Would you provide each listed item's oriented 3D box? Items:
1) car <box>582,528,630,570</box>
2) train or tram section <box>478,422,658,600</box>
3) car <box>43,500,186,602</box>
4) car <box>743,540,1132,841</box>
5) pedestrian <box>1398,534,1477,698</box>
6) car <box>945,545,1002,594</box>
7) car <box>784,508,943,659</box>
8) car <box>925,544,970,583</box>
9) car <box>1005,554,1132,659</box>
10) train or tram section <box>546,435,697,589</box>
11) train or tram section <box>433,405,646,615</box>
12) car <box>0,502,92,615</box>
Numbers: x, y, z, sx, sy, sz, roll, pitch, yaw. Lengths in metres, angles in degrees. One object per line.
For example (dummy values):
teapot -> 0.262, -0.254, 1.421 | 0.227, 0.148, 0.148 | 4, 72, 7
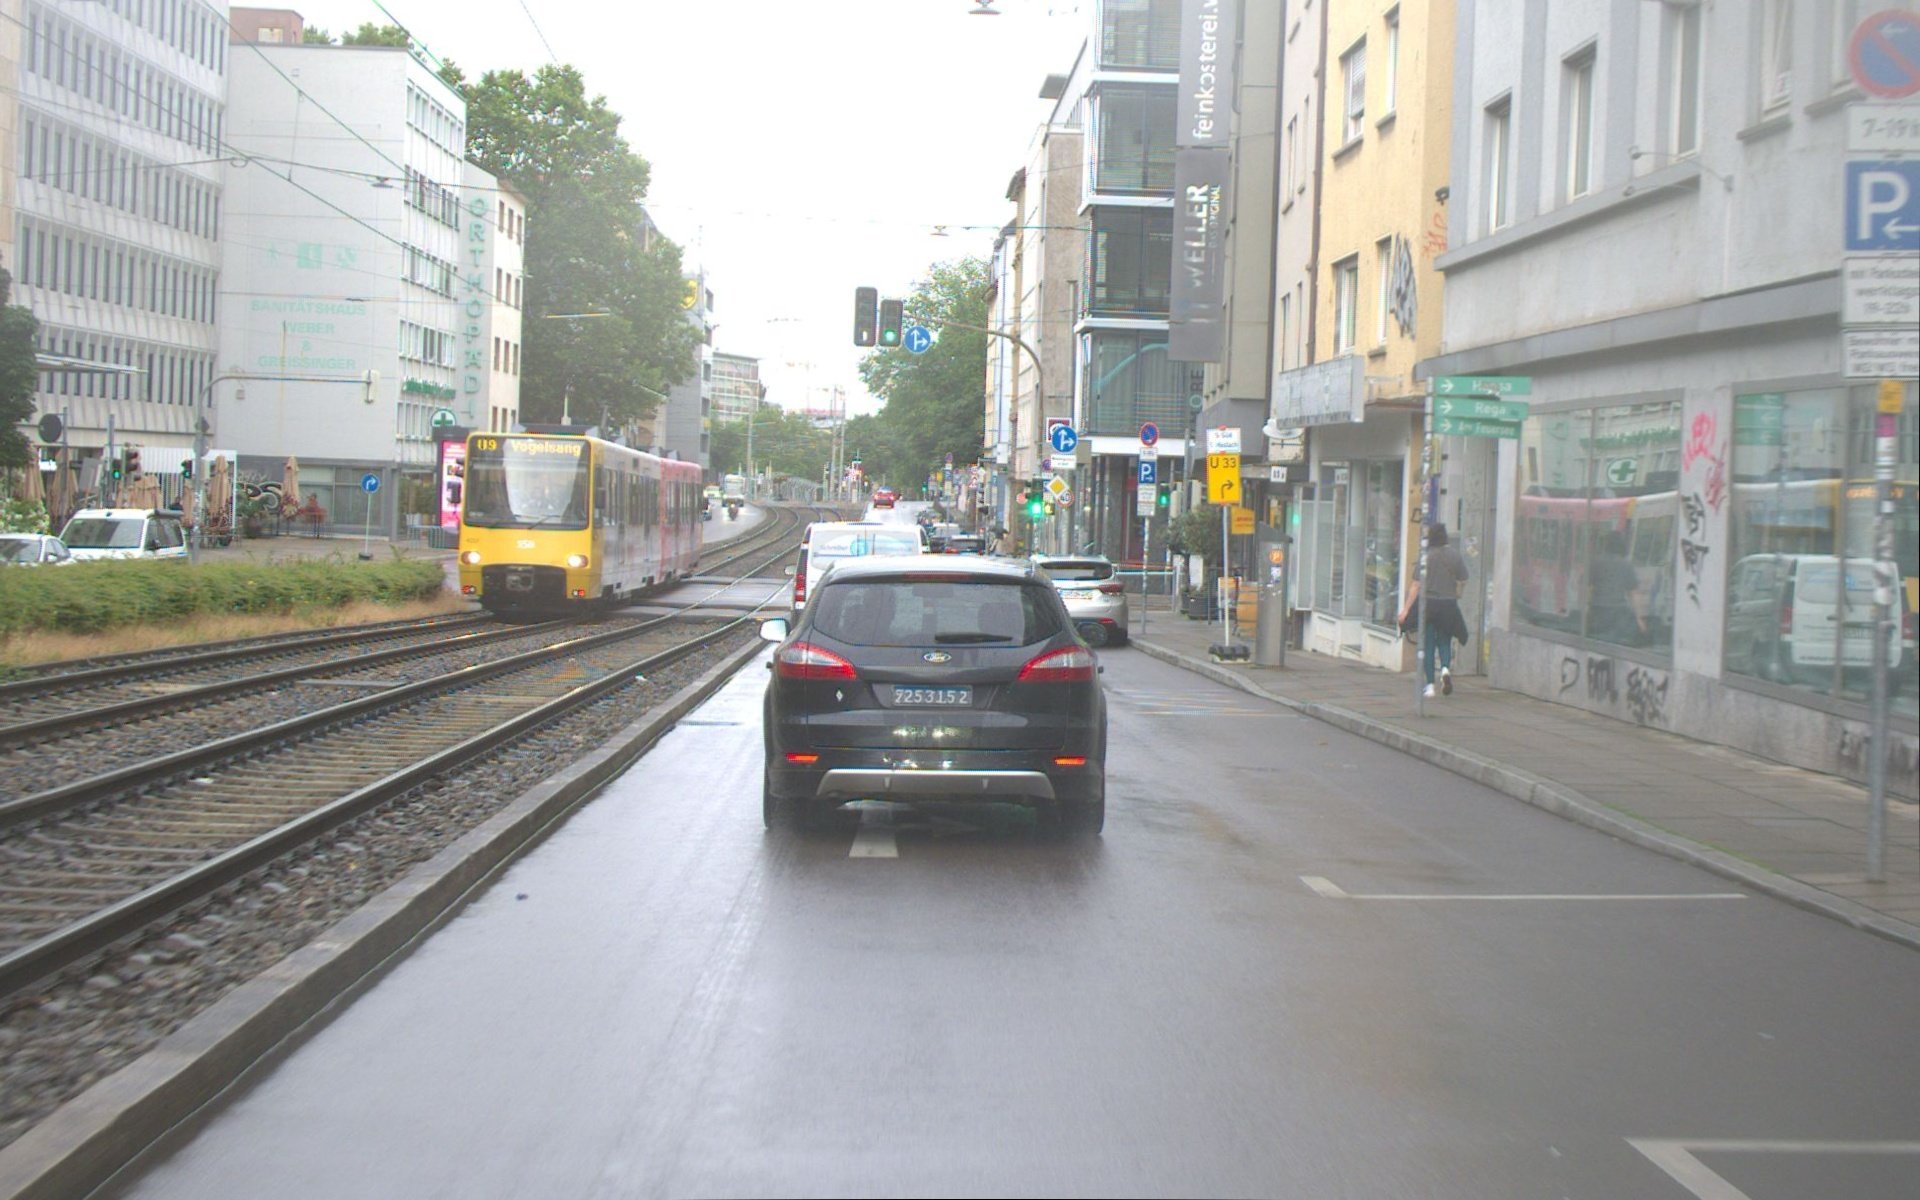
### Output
car -> -16.661, -2.388, 161.927 | 1.906, 1.858, 4.574 | 1, 0, -2
train or tram section -> -8.954, -2.009, 79.832 | 3.537, 3.764, 11.333 | 1, 1, -4
car -> -16.230, -0.925, 66.196 | 1.906, 1.858, 4.574 | 1, 0, -4
car -> -0.136, 0.441, 18.906 | 1.906, 1.457, 3.445 | 1, 0, -1
pedestrian -> 4.540, 0.147, 32.711 | 0.611, 1.532, 0.649 | 1, 1, -2
car -> 0.453, -1.038, 119.210 | 1.906, 1.628, 4.574 | 1, 0, 0
car -> -1.237, -0.222, 45.848 | 1.906, 1.858, 4.574 | 1, 0, 0
car -> -0.560, -1.595, 150.894 | 1.906, 1.628, 4.574 | 1, 0, 0
car -> 1.758, 0.089, 57.073 | 1.906, 1.628, 4.574 | 1, 0, 0
train or tram section -> -8.931, -2.294, 92.256 | 3.537, 3.764, 13.432 | 1, 1, -4
train or tram section -> -8.200, -1.738, 68.537 | 3.512, 3.764, 11.333 | 1, 1, -4
car -> -16.399, -0.718, 59.442 | 1.906, 1.858, 4.574 | 1, 0, -4
